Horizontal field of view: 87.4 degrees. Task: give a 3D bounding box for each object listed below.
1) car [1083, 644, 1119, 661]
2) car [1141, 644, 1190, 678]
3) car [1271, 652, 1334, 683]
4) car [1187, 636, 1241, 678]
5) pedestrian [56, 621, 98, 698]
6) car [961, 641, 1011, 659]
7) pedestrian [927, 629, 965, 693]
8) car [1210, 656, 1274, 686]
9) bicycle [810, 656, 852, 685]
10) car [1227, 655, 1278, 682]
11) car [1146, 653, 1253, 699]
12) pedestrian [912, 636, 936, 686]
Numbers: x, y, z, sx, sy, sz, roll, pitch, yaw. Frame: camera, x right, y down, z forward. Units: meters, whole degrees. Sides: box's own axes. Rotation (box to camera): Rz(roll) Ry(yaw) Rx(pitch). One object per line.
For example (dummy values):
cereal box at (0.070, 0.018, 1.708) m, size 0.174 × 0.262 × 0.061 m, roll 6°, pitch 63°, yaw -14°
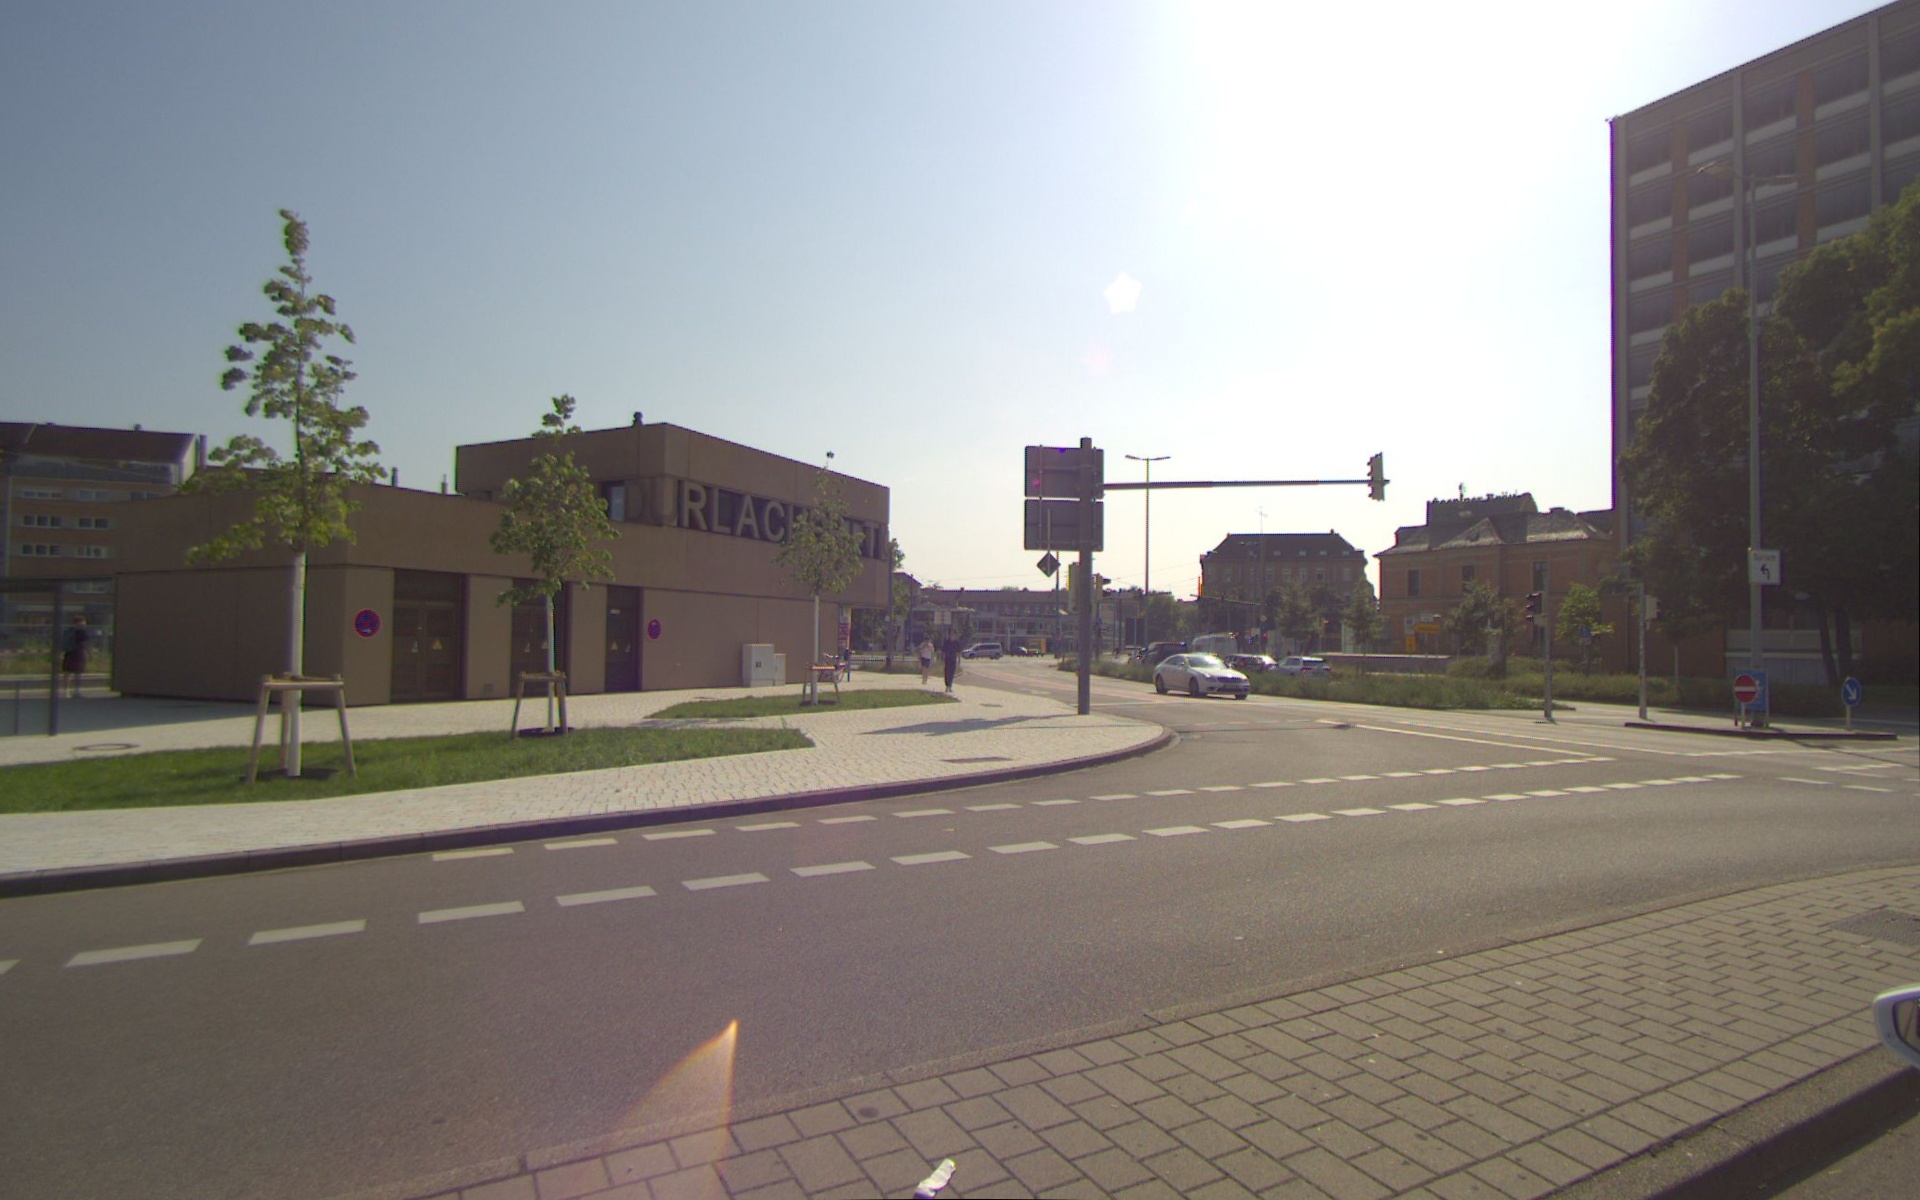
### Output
car at (17.242, 6.431, 122.997) m, size 3.936 × 2.040 × 1.993 m, roll 1°, pitch -2°, yaw -17°
car at (12.831, 3.810, 63.102) m, size 1.990 × 2.034 × 4.684 m, roll 1°, pitch -3°, yaw -1°
car at (16.768, 3.305, 49.286) m, size 1.658 × 1.405 × 3.634 m, roll 2°, pitch -3°, yaw -4°
car at (16.328, 3.664, 64.753) m, size 2.153 × 2.582 × 4.684 m, roll 1°, pitch -3°, yaw -1°
pedestrian at (-20.785, 1.390, 23.655) m, size 0.646 × 1.792 × 0.473 m, roll 2°, pitch -3°, yaw -39°
car at (2.962, 5.721, 114.696) m, size 5.473 × 2.040 × 1.993 m, roll 1°, pitch -2°, yaw -18°
pedestrian at (-0.437, 1.817, 30.198) m, size 0.720 × 1.864 × 1.075 m, roll 1°, pitch 0°, yaw -27°
car at (13.882, 3.473, 49.635) m, size 1.675 × 1.385 × 3.960 m, roll 2°, pitch -3°, yaw -7°
bicycle at (-4.486, 2.444, 34.998) m, size 0.648 × 0.968 × 1.611 m, roll 2°, pitch -2°, yaw 26°
car at (16.229, 3.783, 55.891) m, size 1.465 × 1.421 × 3.942 m, roll 2°, pitch -3°, yaw -4°
car at (8.005, 2.511, 34.038) m, size 1.814 × 1.379 × 4.812 m, roll 1°, pitch -2°, yaw -9°
pedestrian at (-1.383, 2.339, 38.568) m, size 0.686 × 1.857 × 0.566 m, roll 3°, pitch -3°, yaw -28°
